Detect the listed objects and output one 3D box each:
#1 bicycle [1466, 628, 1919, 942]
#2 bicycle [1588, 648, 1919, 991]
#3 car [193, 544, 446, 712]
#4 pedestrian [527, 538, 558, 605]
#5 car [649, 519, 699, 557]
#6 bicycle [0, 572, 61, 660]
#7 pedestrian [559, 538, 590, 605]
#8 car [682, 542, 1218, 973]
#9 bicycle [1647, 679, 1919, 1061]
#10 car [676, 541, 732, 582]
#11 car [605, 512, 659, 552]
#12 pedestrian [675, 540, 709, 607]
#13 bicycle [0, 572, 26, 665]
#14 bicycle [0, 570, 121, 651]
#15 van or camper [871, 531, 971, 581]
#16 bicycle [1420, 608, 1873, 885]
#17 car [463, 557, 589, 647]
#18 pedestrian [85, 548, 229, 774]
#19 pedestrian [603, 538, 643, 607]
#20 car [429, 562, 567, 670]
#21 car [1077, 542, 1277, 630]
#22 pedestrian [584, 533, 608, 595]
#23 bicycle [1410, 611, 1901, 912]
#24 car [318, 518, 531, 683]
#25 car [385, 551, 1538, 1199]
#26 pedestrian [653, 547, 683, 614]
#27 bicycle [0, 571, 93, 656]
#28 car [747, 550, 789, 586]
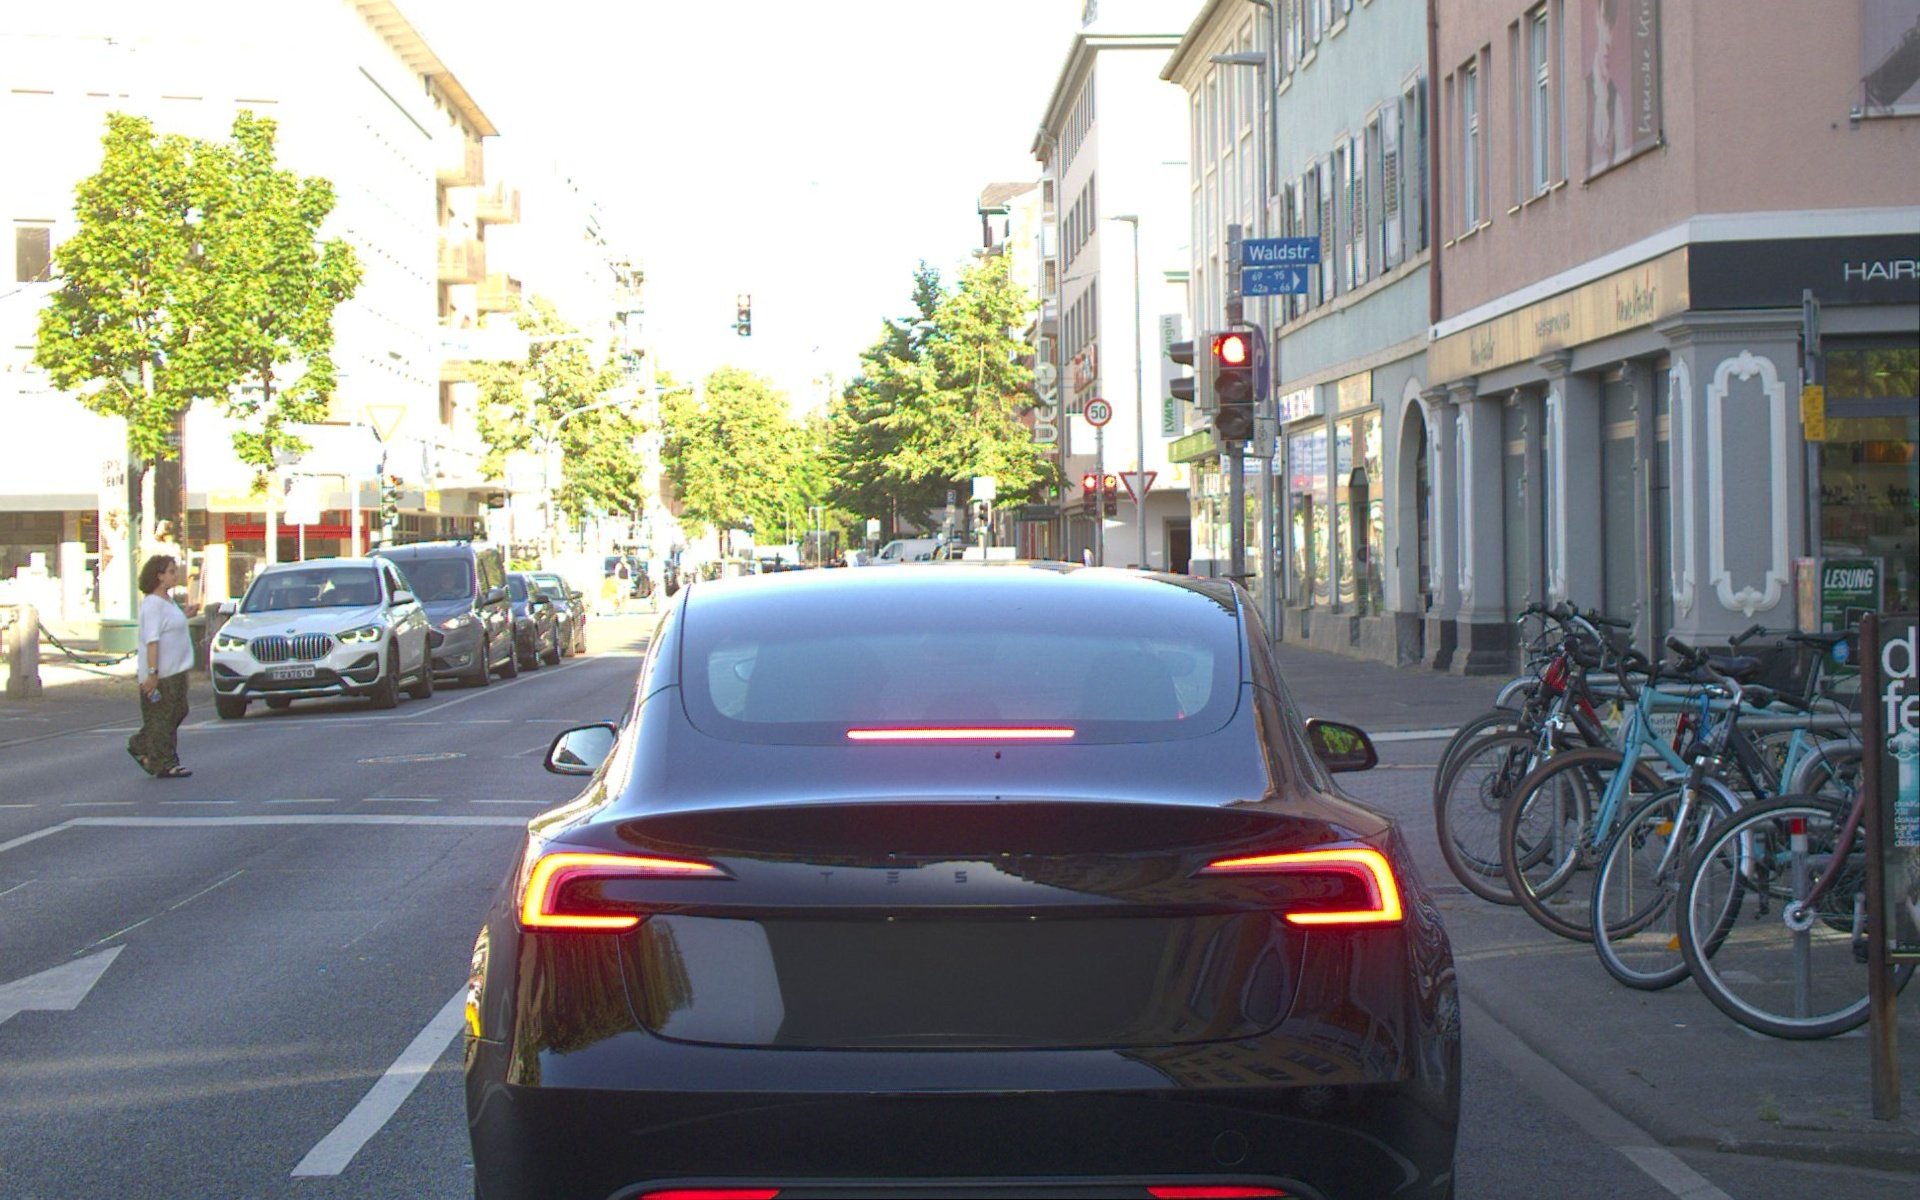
[{"bbox_3d":[2.799,0.659,12.539,1.813,1.098,0.653,0,1,1],"label":"bicycle"},{"bbox_3d":[2.999,0.695,11.133,1.813,1.056,0.653,0,1,1],"label":"bicycle"},{"bbox_3d":[-6.689,0.257,36.351,1.825,1.559,4.301,-4,1,-1],"label":"car"},{"bbox_3d":[-11.783,-0.812,96.978,0.732,1.861,0.791,1,0,-17],"label":"pedestrian"},{"bbox_3d":[-15.649,-3.363,188.292,2.275,2.007,4.717,1,1,1],"label":"car"},{"bbox_3d":[-14.490,0.219,49.876,2.662,1.255,0.943,1,0,-3],"label":"bicycle"},{"bbox_3d":[-10.896,-0.802,97.180,0.732,1.861,0.791,1,0,-17],"label":"pedestrian"},{"bbox_3d":[-0.061,0.527,14.209,1.850,1.476,4.452,1,1,-1],"label":"car"},{"bbox_3d":[3.025,0.762,10.061,1.882,1.040,0.653,-1,1,1],"label":"bicycle"},{"bbox_3d":[-12.395,-1.876,166.462,2.414,1.963,4.678,0,1,-1],"label":"car"},{"bbox_3d":[-17.125,-3.543,179.652,2.275,2.007,4.717,1,1,1],"label":"car"},{"bbox_3d":[-7.461,-0.738,95.628,0.774,1.861,1.009,1,0,-14],"label":"pedestrian"},{"bbox_3d":[-14.488,0.237,47.557,2.875,1.266,0.943,1,0,-3],"label":"bicycle"},{"bbox_3d":[-14.696,0.164,54.576,2.542,1.247,0.943,1,0,-3],"label":"bicycle"},{"bbox_3d":[-1.901,-2.139,167.559,4.850,2.430,1.851,0,1,-1],"label":"van or camper"},{"bbox_3d":[2.921,0.615,14.747,1.813,1.148,0.653,0,1,1],"label":"bicycle"},{"bbox_3d":[-7.131,0.022,56.758,1.693,1.385,3.916,-2,0,-2],"label":"car"},{"bbox_3d":[-5.561,0.417,23.848,0.921,1.538,0.695,1,0,-10],"label":"pedestrian"},{"bbox_3d":[-9.268,-0.753,94.555,0.734,1.861,0.789,1,0,28],"label":"pedestrian"},{"bbox_3d":[-6.655,0.206,49.808,1.461,1.425,3.606,-4,1,-1],"label":"car"},{"bbox_3d":[4.708,-0.324,74.686,3.992,1.861,1.698,0,1,-21],"label":"car"},{"bbox_3d":[-10.997,-1.076,103.889,0.695,1.861,0.659,1,0,-5],"label":"pedestrian"},{"bbox_3d":[2.730,0.623,13.613,1.813,1.148,0.653,0,1,1],"label":"bicycle"},{"bbox_3d":[-6.574,-0.034,42.674,1.945,1.940,4.820,0,1,-1],"label":"car"},{"bbox_3d":[-0.025,0.631,7.785,1.850,1.442,4.452,1,1,-1],"label":"car"},{"bbox_3d":[-8.128,-0.539,95.578,0.694,1.861,0.910,1,0,-13],"label":"pedestrian"},{"bbox_3d":[-14.535,0.191,52.151,2.542,1.247,0.943,1,0,-3],"label":"bicycle"},{"bbox_3d":[-10.443,-1.748,187.145,2.132,1.963,4.134,0,1,-1],"label":"car"}]
